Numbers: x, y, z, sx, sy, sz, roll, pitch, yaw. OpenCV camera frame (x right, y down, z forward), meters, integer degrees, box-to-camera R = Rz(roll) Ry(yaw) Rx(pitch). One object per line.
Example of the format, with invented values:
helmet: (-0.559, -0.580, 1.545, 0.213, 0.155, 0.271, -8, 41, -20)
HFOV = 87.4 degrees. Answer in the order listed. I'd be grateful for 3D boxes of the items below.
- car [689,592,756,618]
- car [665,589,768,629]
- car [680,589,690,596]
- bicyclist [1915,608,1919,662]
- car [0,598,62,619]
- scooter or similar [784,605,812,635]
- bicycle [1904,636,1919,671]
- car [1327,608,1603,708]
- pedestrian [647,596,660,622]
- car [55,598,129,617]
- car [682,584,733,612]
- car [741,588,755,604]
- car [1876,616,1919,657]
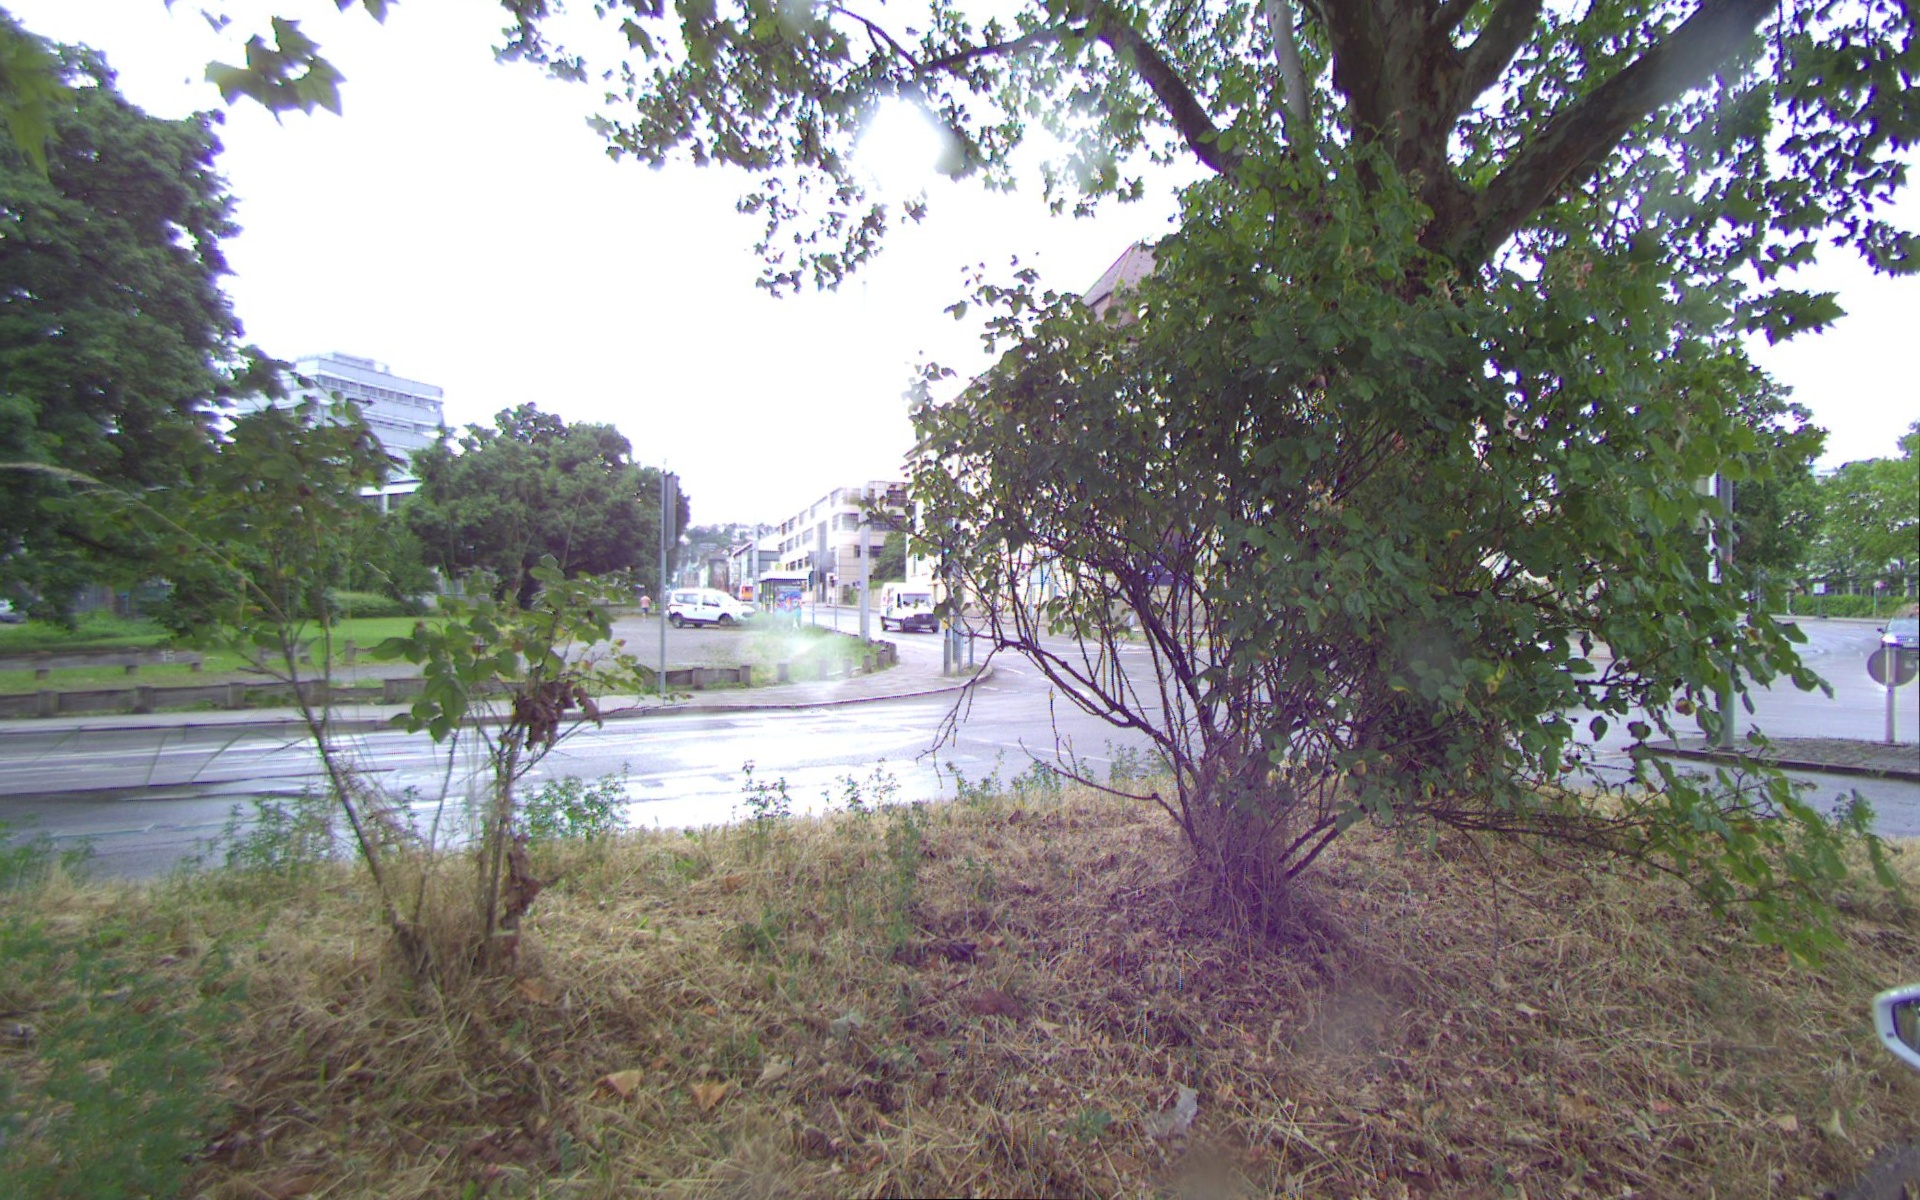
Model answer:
car: (-14.943, 0.323, 63.166, 4.004, 1.461, 1.850, 2, 0, 32)
car: (-11.331, 0.391, 46.700, 4.420, 1.791, 1.833, 0, -1, 24)
car: (-58.981, -1.611, 215.508, 1.813, 1.252, 3.406, 2, 1, -14)
bicyclist: (30.072, 1.094, 30.773, 0.698, 1.654, 1.113, 2, 0, -44)
car: (-58.511, 0.499, 62.497, 3.500, 1.158, 1.586, 2, 0, -18)
scooter or similar: (-6.569, 0.798, 40.848, 0.541, 1.182, 1.253, 2, 0, 20)
bicycle: (30.121, 1.660, 30.722, 0.643, 1.070, 1.797, 2, -1, -44)
car: (9.800, 1.027, 19.886, 1.779, 1.728, 4.645, 0, 0, -33)
pedestrian: (-18.109, 0.538, 59.414, 0.557, 1.548, 0.669, 2, 0, -8)
car: (-60.310, 0.493, 69.859, 3.500, 1.158, 1.586, 2, 0, -18)
car: (-17.022, -0.106, 67.656, 1.838, 1.765, 4.029, 1, -1, -39)
car: (-37.495, -0.679, 177.918, 1.968, 2.652, 3.984, 2, 0, -18)
car: (39.234, 1.464, 41.635, 1.847, 1.585, 4.252, -1, -1, 43)
